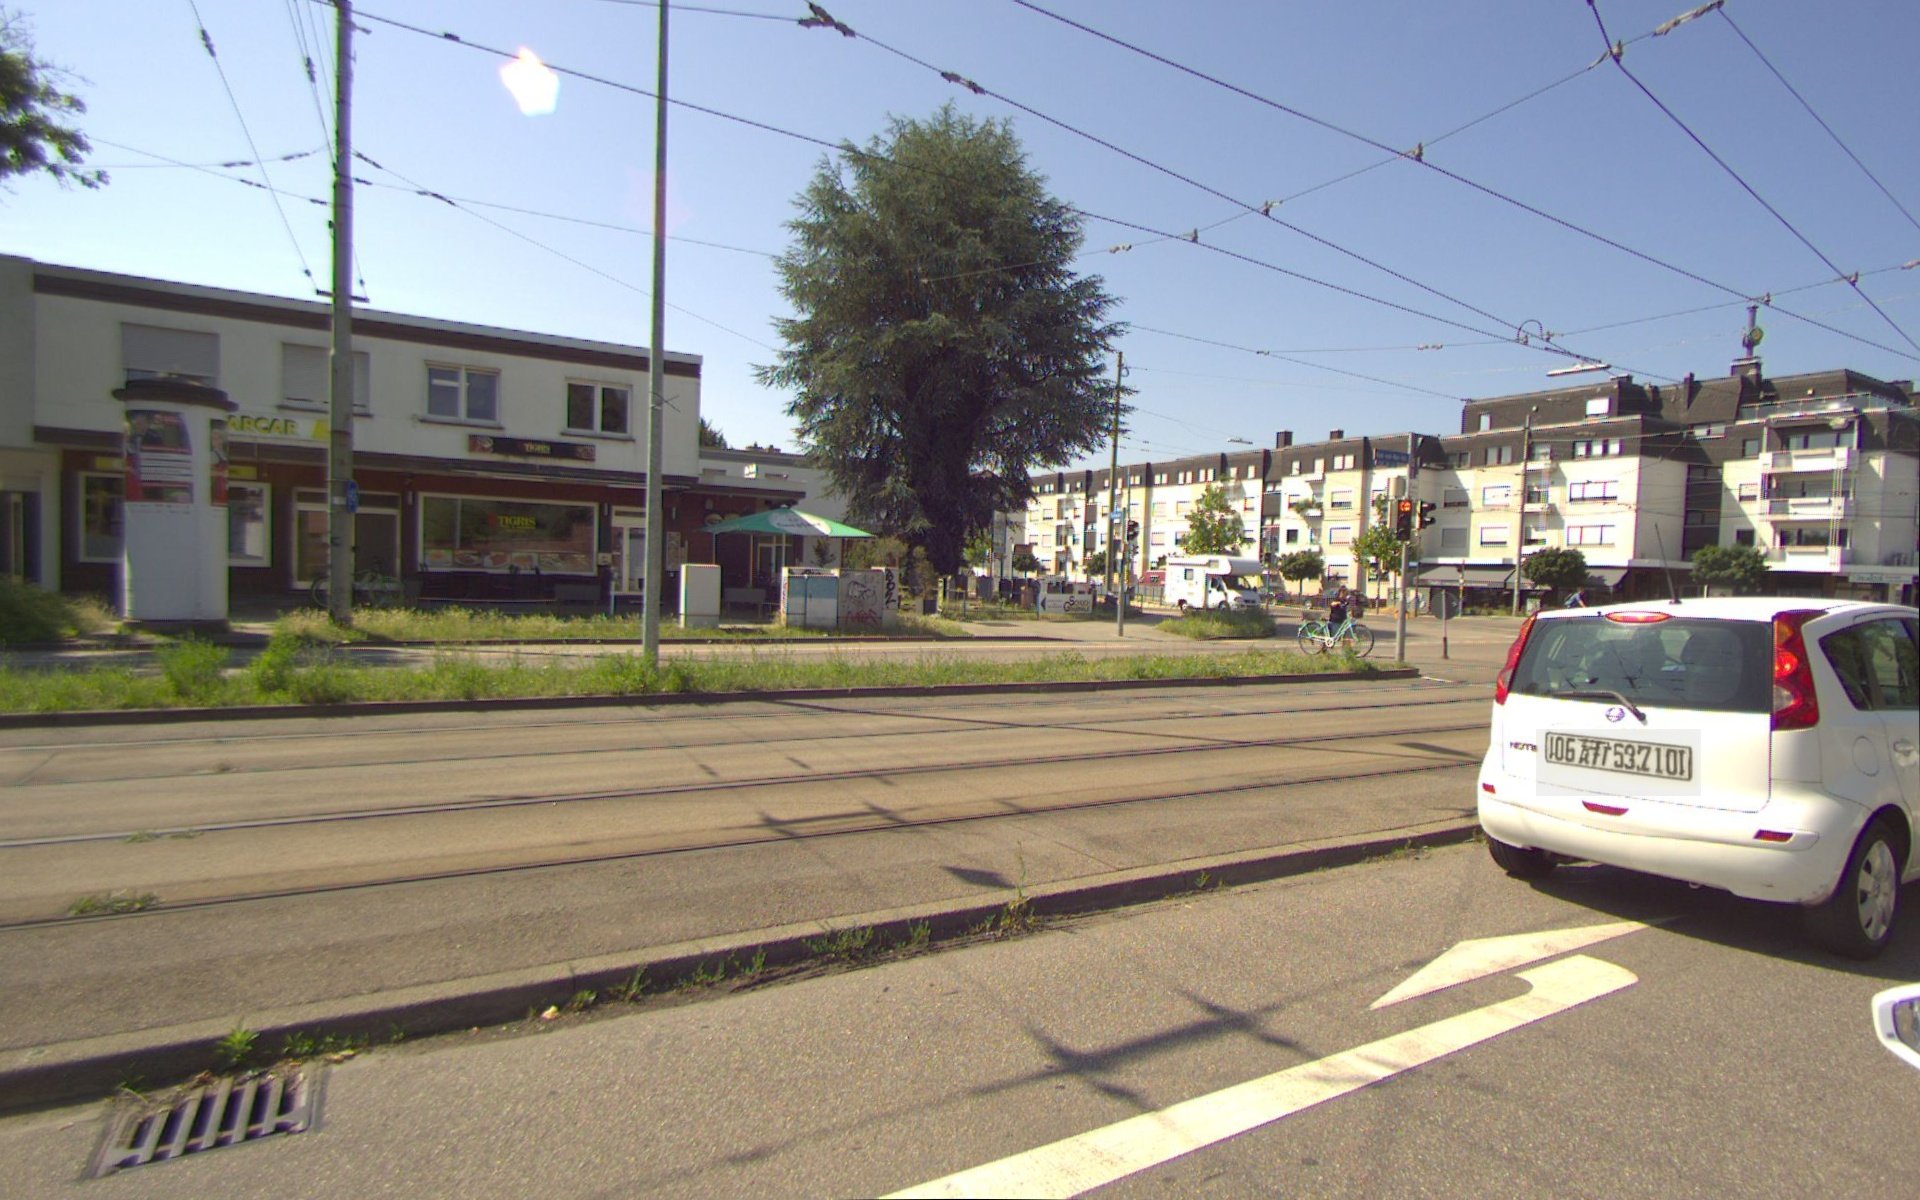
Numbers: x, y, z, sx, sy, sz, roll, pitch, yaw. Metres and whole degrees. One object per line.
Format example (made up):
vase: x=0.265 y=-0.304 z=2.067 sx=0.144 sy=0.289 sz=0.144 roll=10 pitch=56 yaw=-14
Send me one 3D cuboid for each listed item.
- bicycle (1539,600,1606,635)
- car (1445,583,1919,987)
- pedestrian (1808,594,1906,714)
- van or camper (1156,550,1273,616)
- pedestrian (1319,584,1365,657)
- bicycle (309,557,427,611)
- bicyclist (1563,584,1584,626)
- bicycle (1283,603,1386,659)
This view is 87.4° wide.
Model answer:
bicycle: x=24.209 y=0.682 z=39.761 sx=2.208 sy=1.314 sz=0.559 roll=1 pitch=0 yaw=29
car: x=4.619 y=0.724 z=5.611 sx=3.759 sy=1.587 sz=1.634 roll=0 pitch=1 yaw=-31
pedestrian: x=13.144 y=0.765 z=14.716 sx=0.949 sy=1.673 sz=0.963 roll=2 pitch=-1 yaw=-42
van or camper: x=12.919 y=-0.830 z=51.480 sx=2.545 sy=3.133 sz=5.656 roll=2 pitch=-1 yaw=-30
pedestrian: x=8.547 y=0.444 z=22.500 sx=0.671 sy=1.593 sz=0.738 roll=-1 pitch=1 yaw=-44
bicycle: x=-13.706 y=-0.356 z=23.327 sx=2.306 sy=1.167 sz=0.783 roll=1 pitch=0 yaw=-30
bicyclist: x=24.261 y=0.210 z=39.740 sx=0.626 sy=1.634 sz=0.562 roll=2 pitch=0 yaw=28
bicycle: x=8.190 y=0.658 z=22.044 sx=0.705 sy=1.105 sz=1.999 roll=0 pitch=2 yaw=-44
